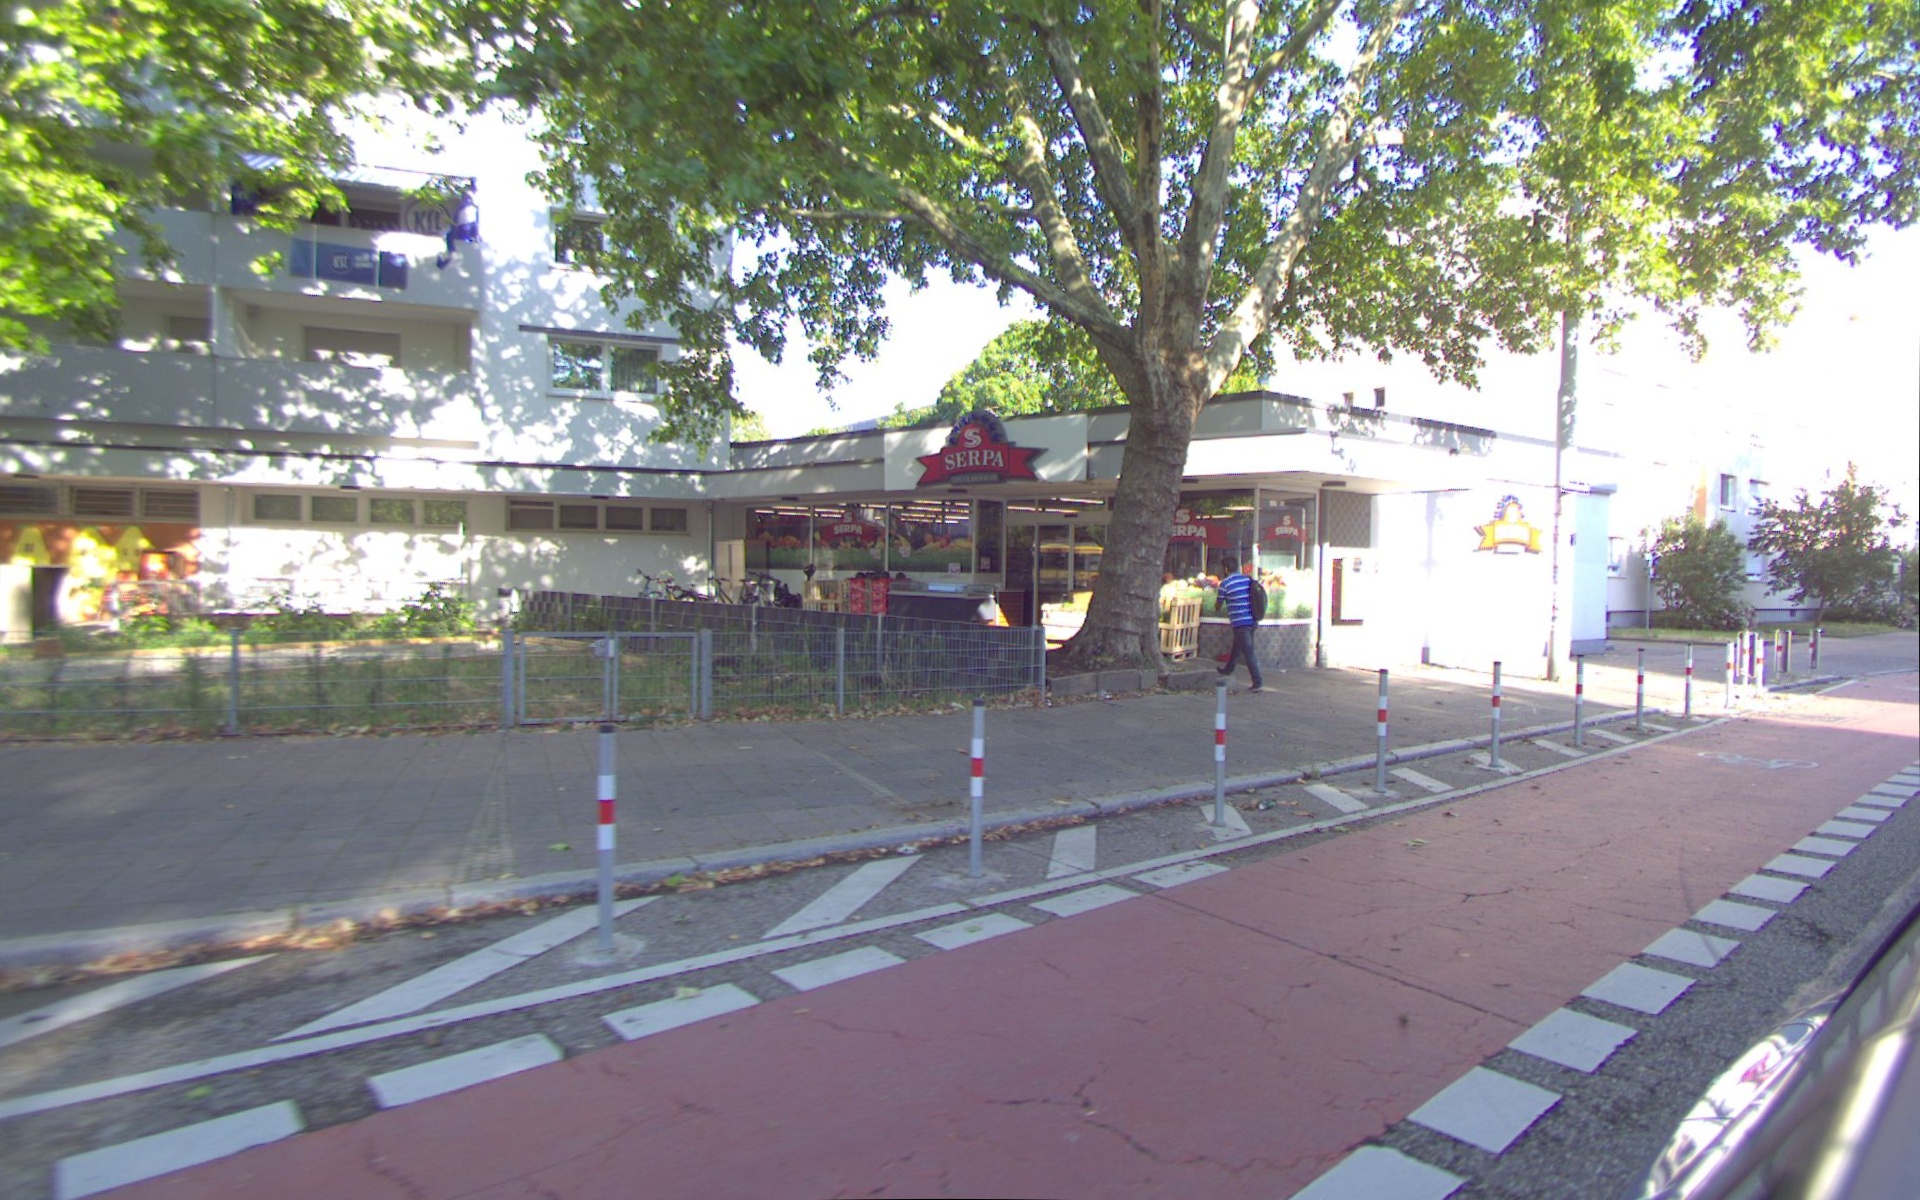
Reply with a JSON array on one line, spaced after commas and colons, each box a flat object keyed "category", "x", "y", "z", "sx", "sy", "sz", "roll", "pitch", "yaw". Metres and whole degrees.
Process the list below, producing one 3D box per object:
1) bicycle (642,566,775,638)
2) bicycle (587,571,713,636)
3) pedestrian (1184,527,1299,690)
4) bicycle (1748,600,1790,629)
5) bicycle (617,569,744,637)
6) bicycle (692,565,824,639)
[{"category": "bicycle", "x": -4.394, "y": 0.013, "z": 17.884, "sx": 0.762, "sy": 1.188, "sz": 2.398, "roll": -1, "pitch": 0, "yaw": 33}, {"category": "bicycle", "x": -5.948, "y": 0.044, "z": 19.574, "sx": 0.762, "sy": 1.188, "sz": 2.398, "roll": -1, "pitch": 0, "yaw": 33}, {"category": "pedestrian", "x": 3.755, "y": 0.070, "z": 13.544, "sx": 1.150, "sy": 2.037, "sz": 0.817, "roll": 6, "pitch": 6, "yaw": 44}, {"category": "bicycle", "x": 27.203, "y": 0.496, "z": 34.023, "sx": 2.189, "sy": 0.937, "sz": 0.638, "roll": 2, "pitch": -2, "yaw": -38}, {"category": "bicycle", "x": -5.202, "y": 0.036, "z": 18.992, "sx": 0.762, "sy": 1.188, "sz": 2.398, "roll": -1, "pitch": 0, "yaw": 33}, {"category": "bicycle", "x": -3.423, "y": 0.018, "z": 17.418, "sx": 0.762, "sy": 1.188, "sz": 2.398, "roll": -1, "pitch": 0, "yaw": 33}]
